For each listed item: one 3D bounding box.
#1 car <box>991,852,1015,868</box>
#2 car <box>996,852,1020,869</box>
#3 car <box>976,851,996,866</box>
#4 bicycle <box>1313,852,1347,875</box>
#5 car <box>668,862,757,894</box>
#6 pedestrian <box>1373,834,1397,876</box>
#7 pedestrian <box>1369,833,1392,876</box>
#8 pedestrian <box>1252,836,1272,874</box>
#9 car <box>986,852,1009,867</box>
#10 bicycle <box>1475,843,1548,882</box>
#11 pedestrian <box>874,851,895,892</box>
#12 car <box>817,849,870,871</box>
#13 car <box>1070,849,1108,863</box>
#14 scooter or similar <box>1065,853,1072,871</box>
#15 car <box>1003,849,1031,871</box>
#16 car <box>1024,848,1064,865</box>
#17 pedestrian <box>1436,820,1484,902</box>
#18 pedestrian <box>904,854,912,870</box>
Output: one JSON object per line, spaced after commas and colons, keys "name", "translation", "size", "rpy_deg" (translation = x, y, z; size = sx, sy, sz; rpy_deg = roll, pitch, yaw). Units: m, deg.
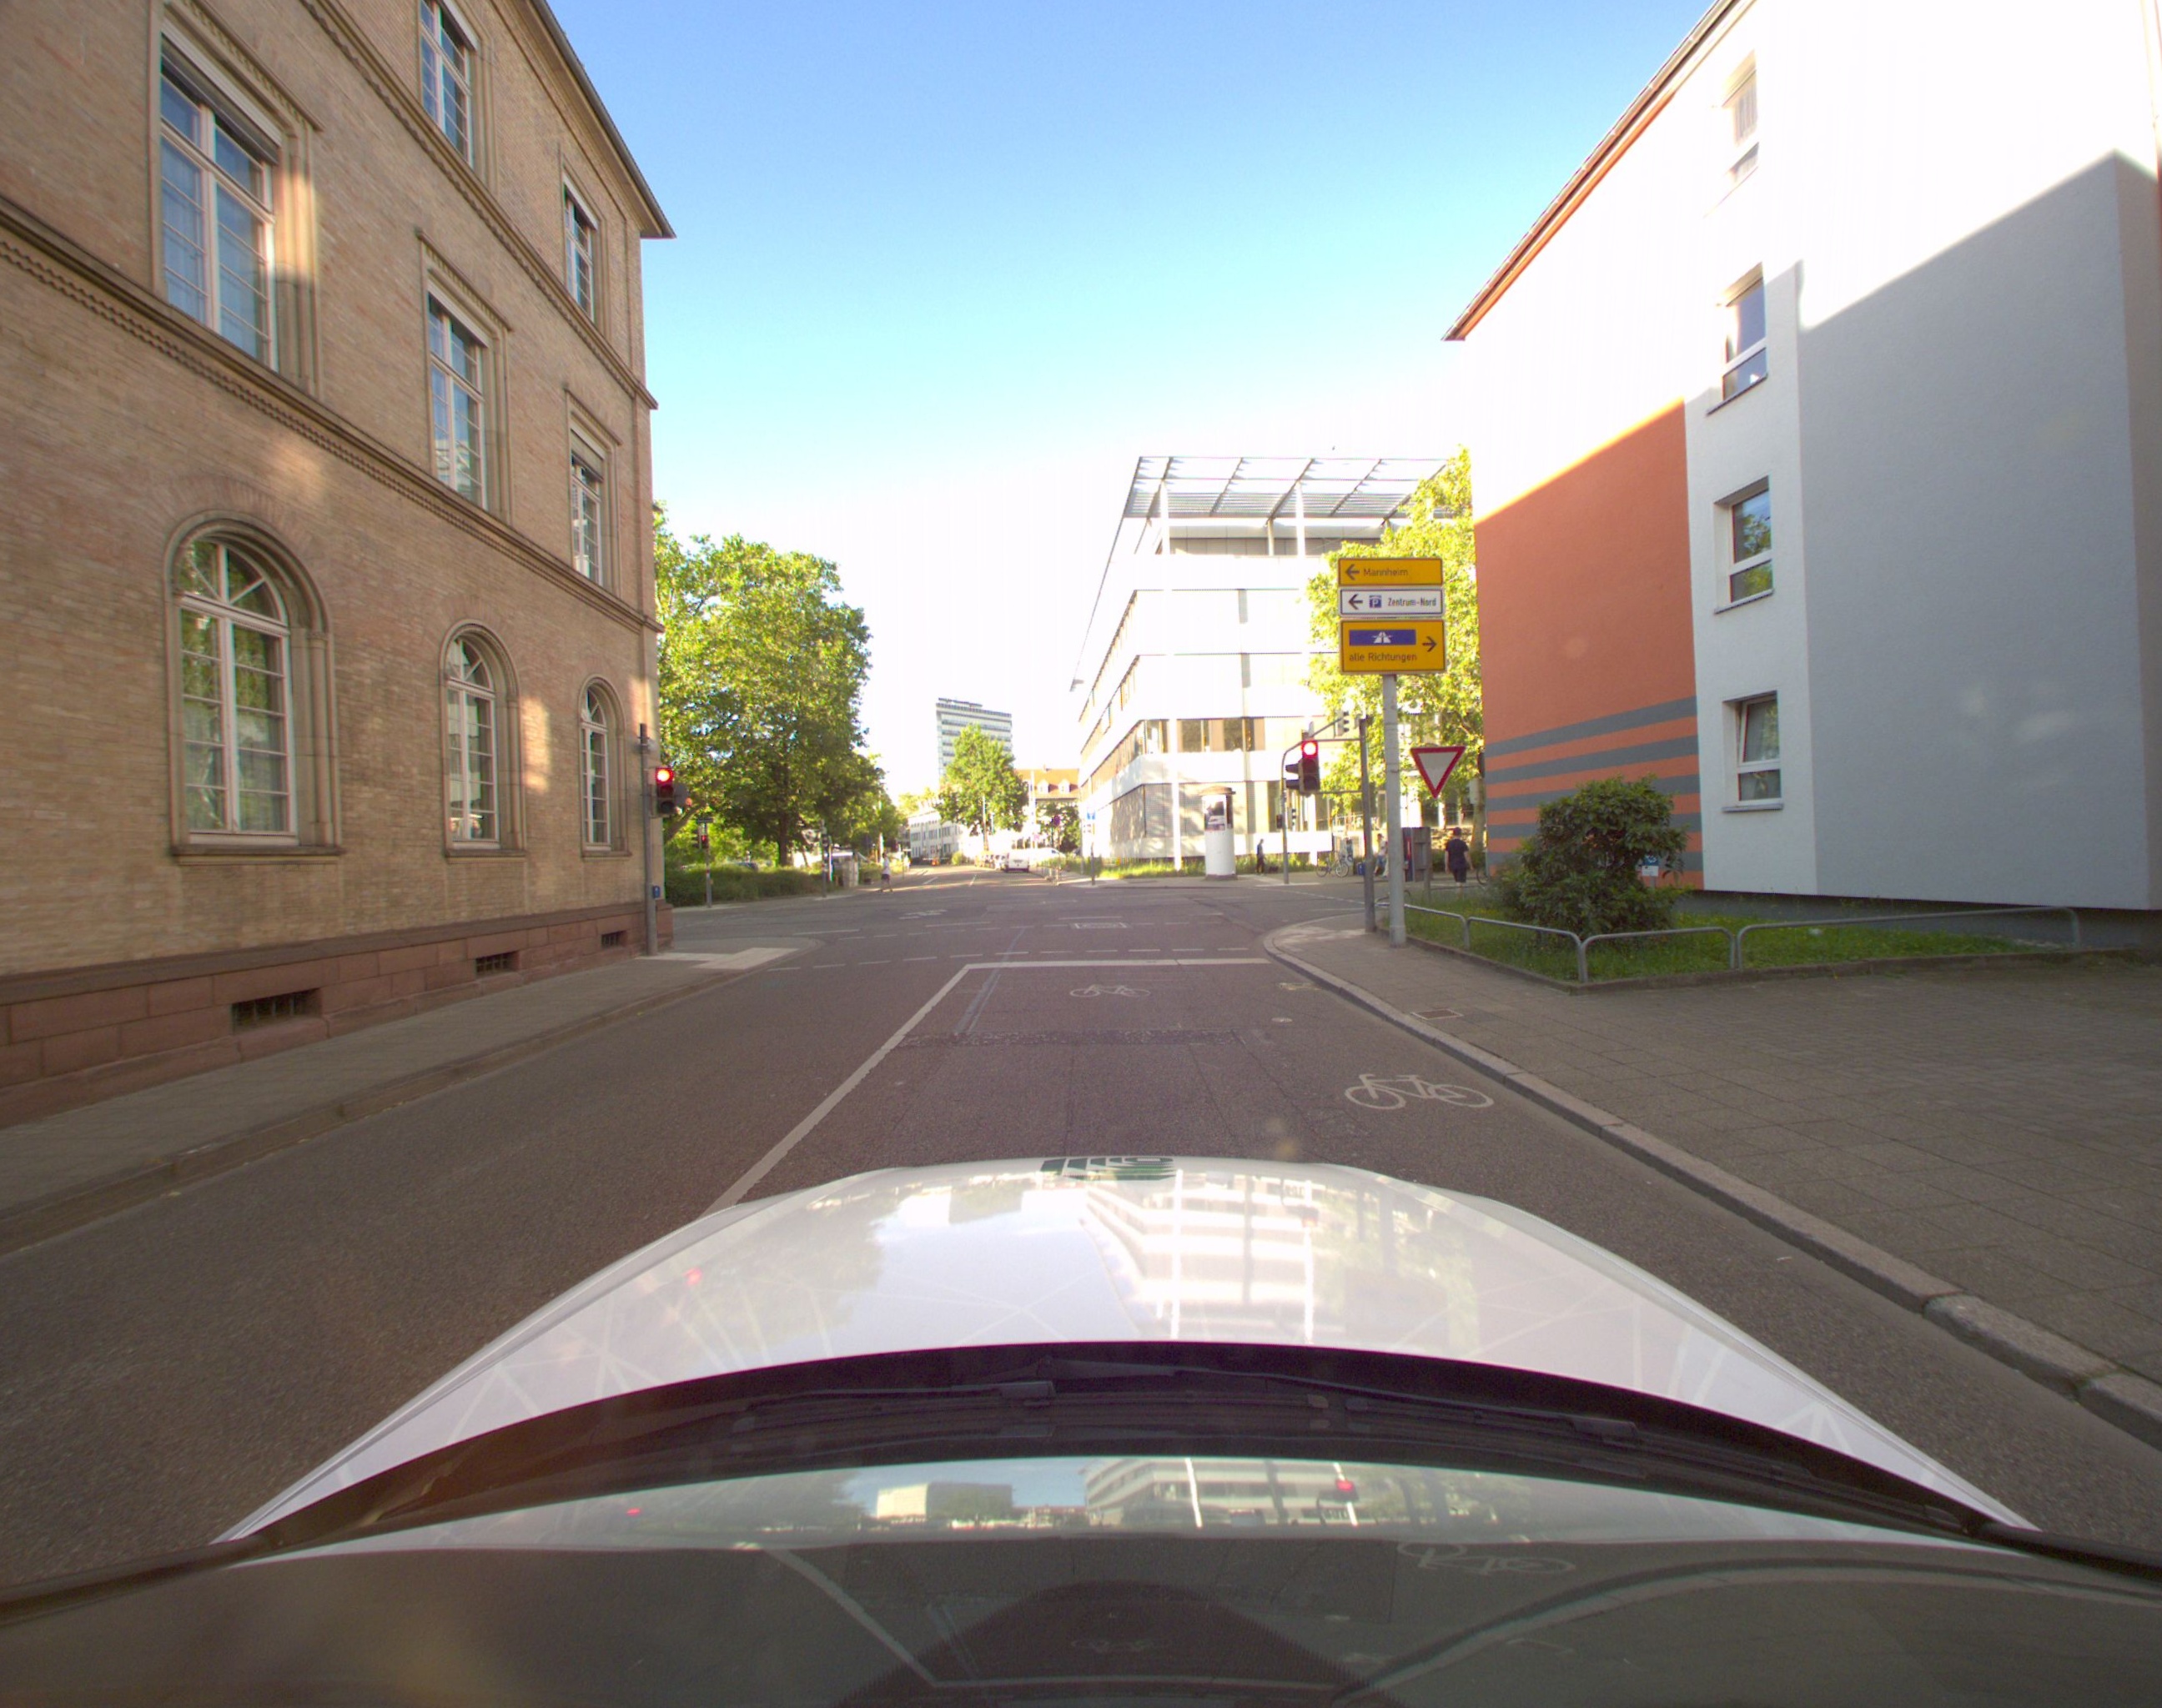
{"name": "car", "translation": [-7.844, 0.592, 81.611], "size": [1.994, 1.499, 4.270], "rpy_deg": [0, -1, -11]}
{"name": "car", "translation": [-6.921, 0.615, 77.137], "size": [1.993, 1.499, 4.638], "rpy_deg": [0, -1, -8]}
{"name": "car", "translation": [-11.302, 0.546, 96.288], "size": [1.995, 1.725, 4.633], "rpy_deg": [0, -1, -11]}
{"name": "bicycle", "translation": [11.004, 0.425, 36.011], "size": [0.381, 1.008, 1.416], "rpy_deg": [-2, 0, -40]}
{"name": "car", "translation": [-17.085, 1.099, 37.886], "size": [3.407, 1.457, 1.646], "rpy_deg": [0, -1, -8]}
{"name": "pedestrian", "translation": [12.568, 0.027, 33.643], "size": [0.761, 1.719, 0.648], "rpy_deg": [0, -1, 4]}
{"name": "pedestrian", "translation": [12.636, 0.015, 34.341], "size": [0.761, 1.795, 0.648], "rpy_deg": [0, -1, 4]}
{"name": "pedestrian", "translation": [8.611, 0.050, 38.767], "size": [0.909, 1.815, 0.764], "rpy_deg": [-1, -1, 8]}
{"name": "car", "translation": [-8.885, 0.598, 86.364], "size": [1.994, 1.499, 4.635], "rpy_deg": [0, -1, -10]}
{"name": "bicycle", "translation": [13.789, 0.274, 26.134], "size": [1.953, 1.152, 0.593], "rpy_deg": [-2, 0, 7]}
{"name": "pedestrian", "translation": [-9.070, 0.804, 37.664], "size": [0.915, 1.869, 0.739], "rpy_deg": [0, -1, -13]}
{"name": "car", "translation": [-22.026, 0.539, 75.753], "size": [4.441, 2.014, 1.995], "rpy_deg": [0, -1, -8]}
{"name": "car", "translation": [1.022, 0.262, 104.940], "size": [4.644, 1.725, 1.990], "rpy_deg": [0, -1, -15]}
{"name": "scooter or similar", "translation": [-0.915, 0.585, 58.460], "size": [0.436, 1.256, 1.418], "rpy_deg": [-2, 0, -2]}
{"name": "car", "translation": [-5.174, 0.473, 65.102], "size": [1.992, 1.725, 4.640], "rpy_deg": [0, -1, -7]}
{"name": "car", "translation": [-4.684, 0.280, 103.233], "size": [4.802, 2.159, 1.989], "rpy_deg": [0, -1, -16]}
{"name": "pedestrian", "translation": [8.581, 0.159, 18.449], "size": [0.723, 1.810, 0.694], "rpy_deg": [0, -1, -36]}
{"name": "pedestrian", "translation": [-16.947, 0.790, 79.867], "size": [0.700, 1.587, 0.633], "rpy_deg": [0, -1, -14]}
